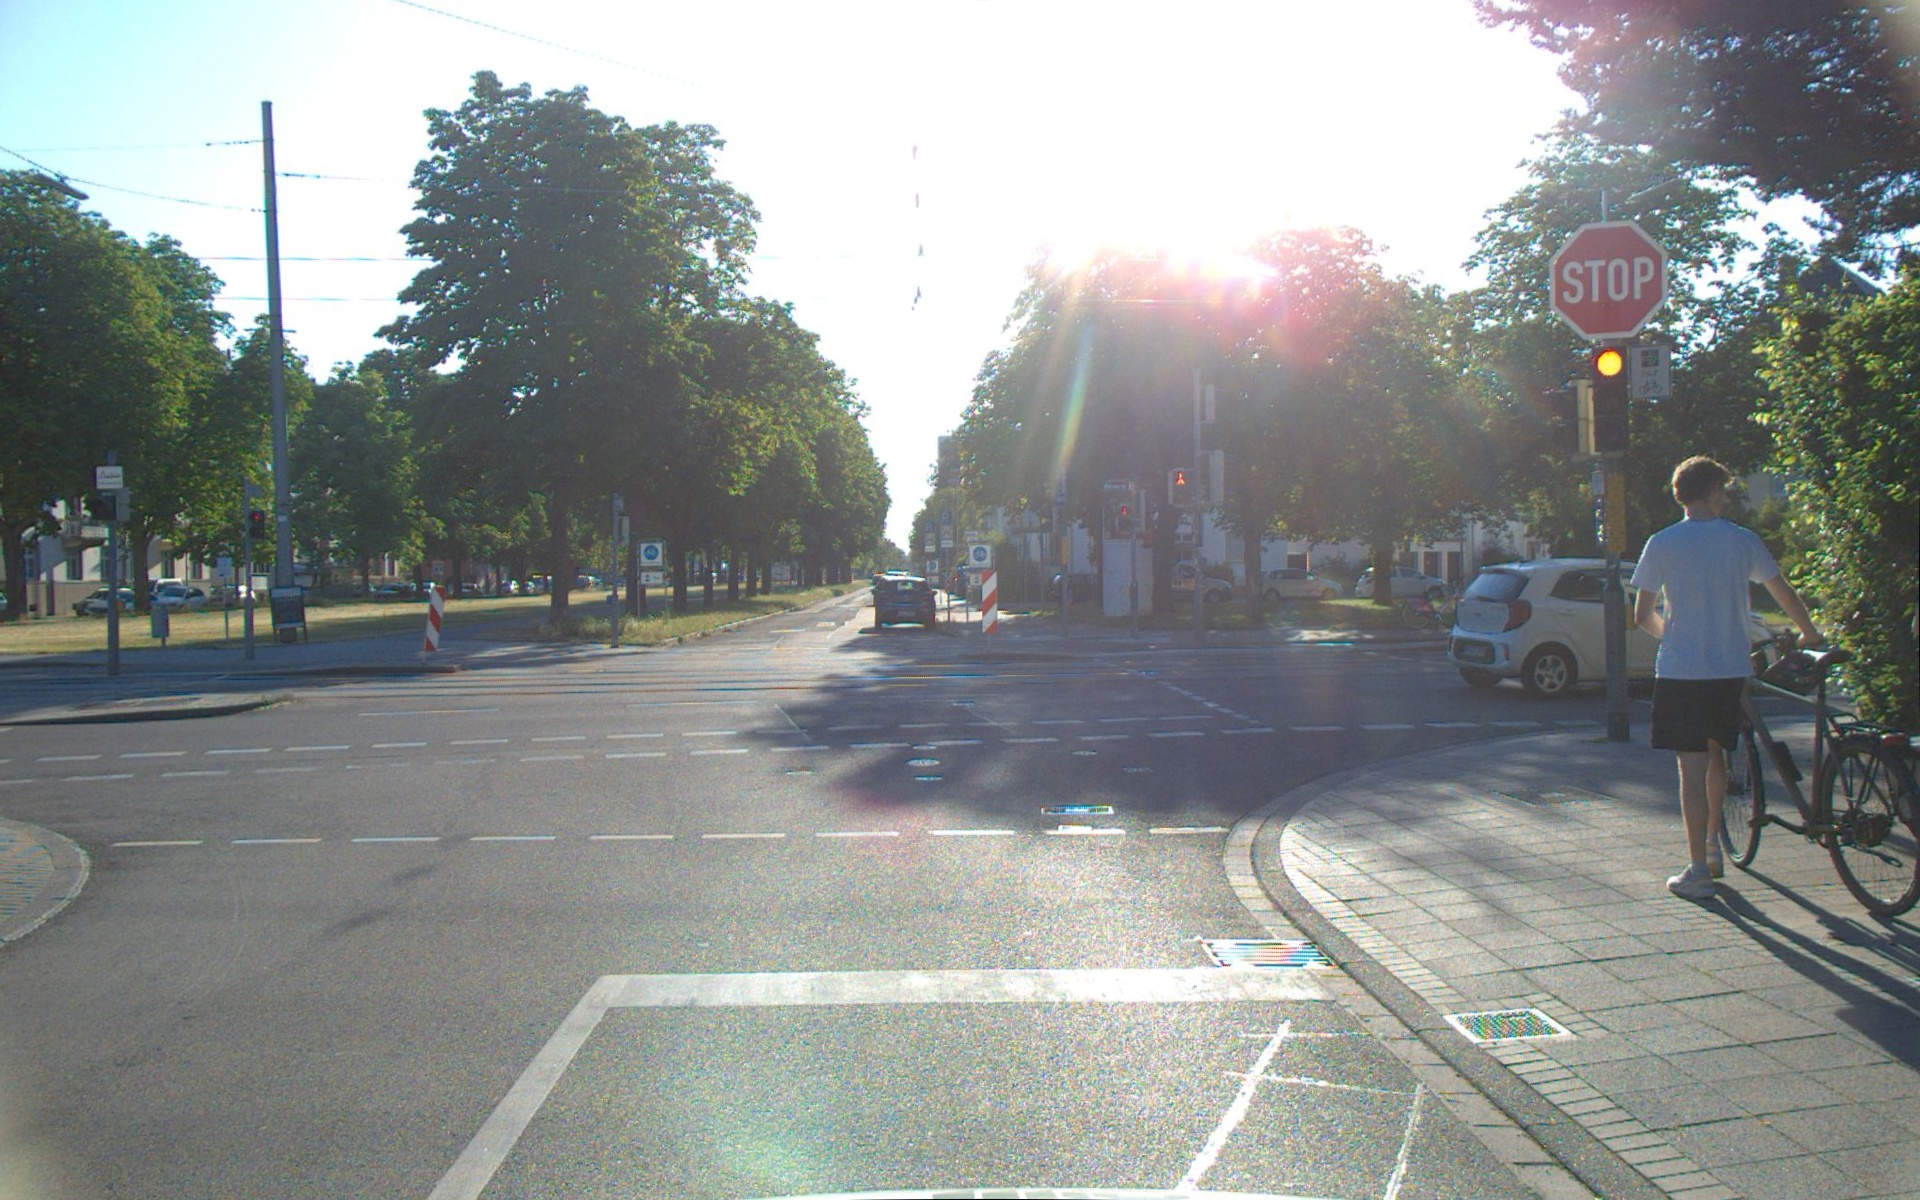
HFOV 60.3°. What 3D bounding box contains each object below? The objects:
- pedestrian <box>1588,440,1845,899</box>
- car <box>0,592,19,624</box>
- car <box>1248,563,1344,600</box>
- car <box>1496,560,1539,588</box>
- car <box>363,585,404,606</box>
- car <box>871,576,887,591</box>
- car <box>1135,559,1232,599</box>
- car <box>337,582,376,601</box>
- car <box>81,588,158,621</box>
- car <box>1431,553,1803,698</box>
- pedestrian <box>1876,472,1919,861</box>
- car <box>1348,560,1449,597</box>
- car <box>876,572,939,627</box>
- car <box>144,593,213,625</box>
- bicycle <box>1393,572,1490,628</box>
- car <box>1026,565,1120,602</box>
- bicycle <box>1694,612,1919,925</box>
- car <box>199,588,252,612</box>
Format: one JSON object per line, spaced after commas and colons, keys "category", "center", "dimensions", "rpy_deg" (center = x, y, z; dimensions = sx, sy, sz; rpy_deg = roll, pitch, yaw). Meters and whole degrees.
{"category": "pedestrian", "center": [3.362, 0.285, 7.424], "dimensions": [0.656, 1.897, 0.882], "rpy_deg": [-4, 1, 2]}
{"category": "car", "center": [-44.801, 0.391, 75.151], "dimensions": [1.701, 1.452, 3.794], "rpy_deg": [0, 1, 4]}
{"category": "car", "center": [13.842, -0.758, 68.165], "dimensions": [3.593, 1.452, 1.530], "rpy_deg": [-1, 1, -6]}
{"category": "car", "center": [29.390, -1.368, 87.095], "dimensions": [1.632, 1.442, 3.538], "rpy_deg": [0, 1, 27]}
{"category": "car", "center": [-41.316, -0.366, 118.632], "dimensions": [1.703, 1.452, 3.791], "rpy_deg": [0, 1, -1]}
{"category": "car", "center": [-11.173, -2.234, 228.193], "dimensions": [2.091, 2.049, 3.901], "rpy_deg": [-1, 1, -1]}
{"category": "car", "center": [9.199, -0.890, 68.192], "dimensions": [3.703, 1.552, 1.743], "rpy_deg": [-1, 2, -2]}
{"category": "car", "center": [-46.990, -0.673, 128.792], "dimensions": [1.703, 1.452, 3.791], "rpy_deg": [0, 1, -1]}
{"category": "car", "center": [-39.521, 0.190, 77.831], "dimensions": [1.703, 1.452, 3.792], "rpy_deg": [-1, 1, -1]}
{"category": "car", "center": [7.477, 0.238, 18.947], "dimensions": [3.622, 1.514, 1.736], "rpy_deg": [-1, 2, -13]}
{"category": "pedestrian", "center": [4.569, 0.279, 7.244], "dimensions": [0.656, 1.737, 0.622], "rpy_deg": [-4, 1, -2]}
{"category": "car", "center": [18.255, -0.904, 68.965], "dimensions": [3.771, 1.452, 1.595], "rpy_deg": [-1, 1, -6]}
{"category": "car", "center": [-1.450, -0.032, 46.689], "dimensions": [1.607, 1.476, 3.308], "rpy_deg": [-1, 1, 0]}
{"category": "car", "center": [-39.622, 0.441, 83.960], "dimensions": [1.703, 1.451, 3.792], "rpy_deg": [-1, 2, -1]}
{"category": "bicycle", "center": [10.392, -0.003, 35.735], "dimensions": [1.914, 1.152, 0.620], "rpy_deg": [-1, 1, 0]}
{"category": "car", "center": [4.622, -0.686, 67.836], "dimensions": [3.703, 1.452, 1.743], "rpy_deg": [-1, 2, -2]}
{"category": "bicycle", "center": [3.876, 0.652, 7.227], "dimensions": [0.477, 1.116, 1.791], "rpy_deg": [-3, 1, 0]}
{"category": "car", "center": [-46.532, -0.038, 104.851], "dimensions": [1.703, 1.452, 3.791], "rpy_deg": [0, 1, -1]}
